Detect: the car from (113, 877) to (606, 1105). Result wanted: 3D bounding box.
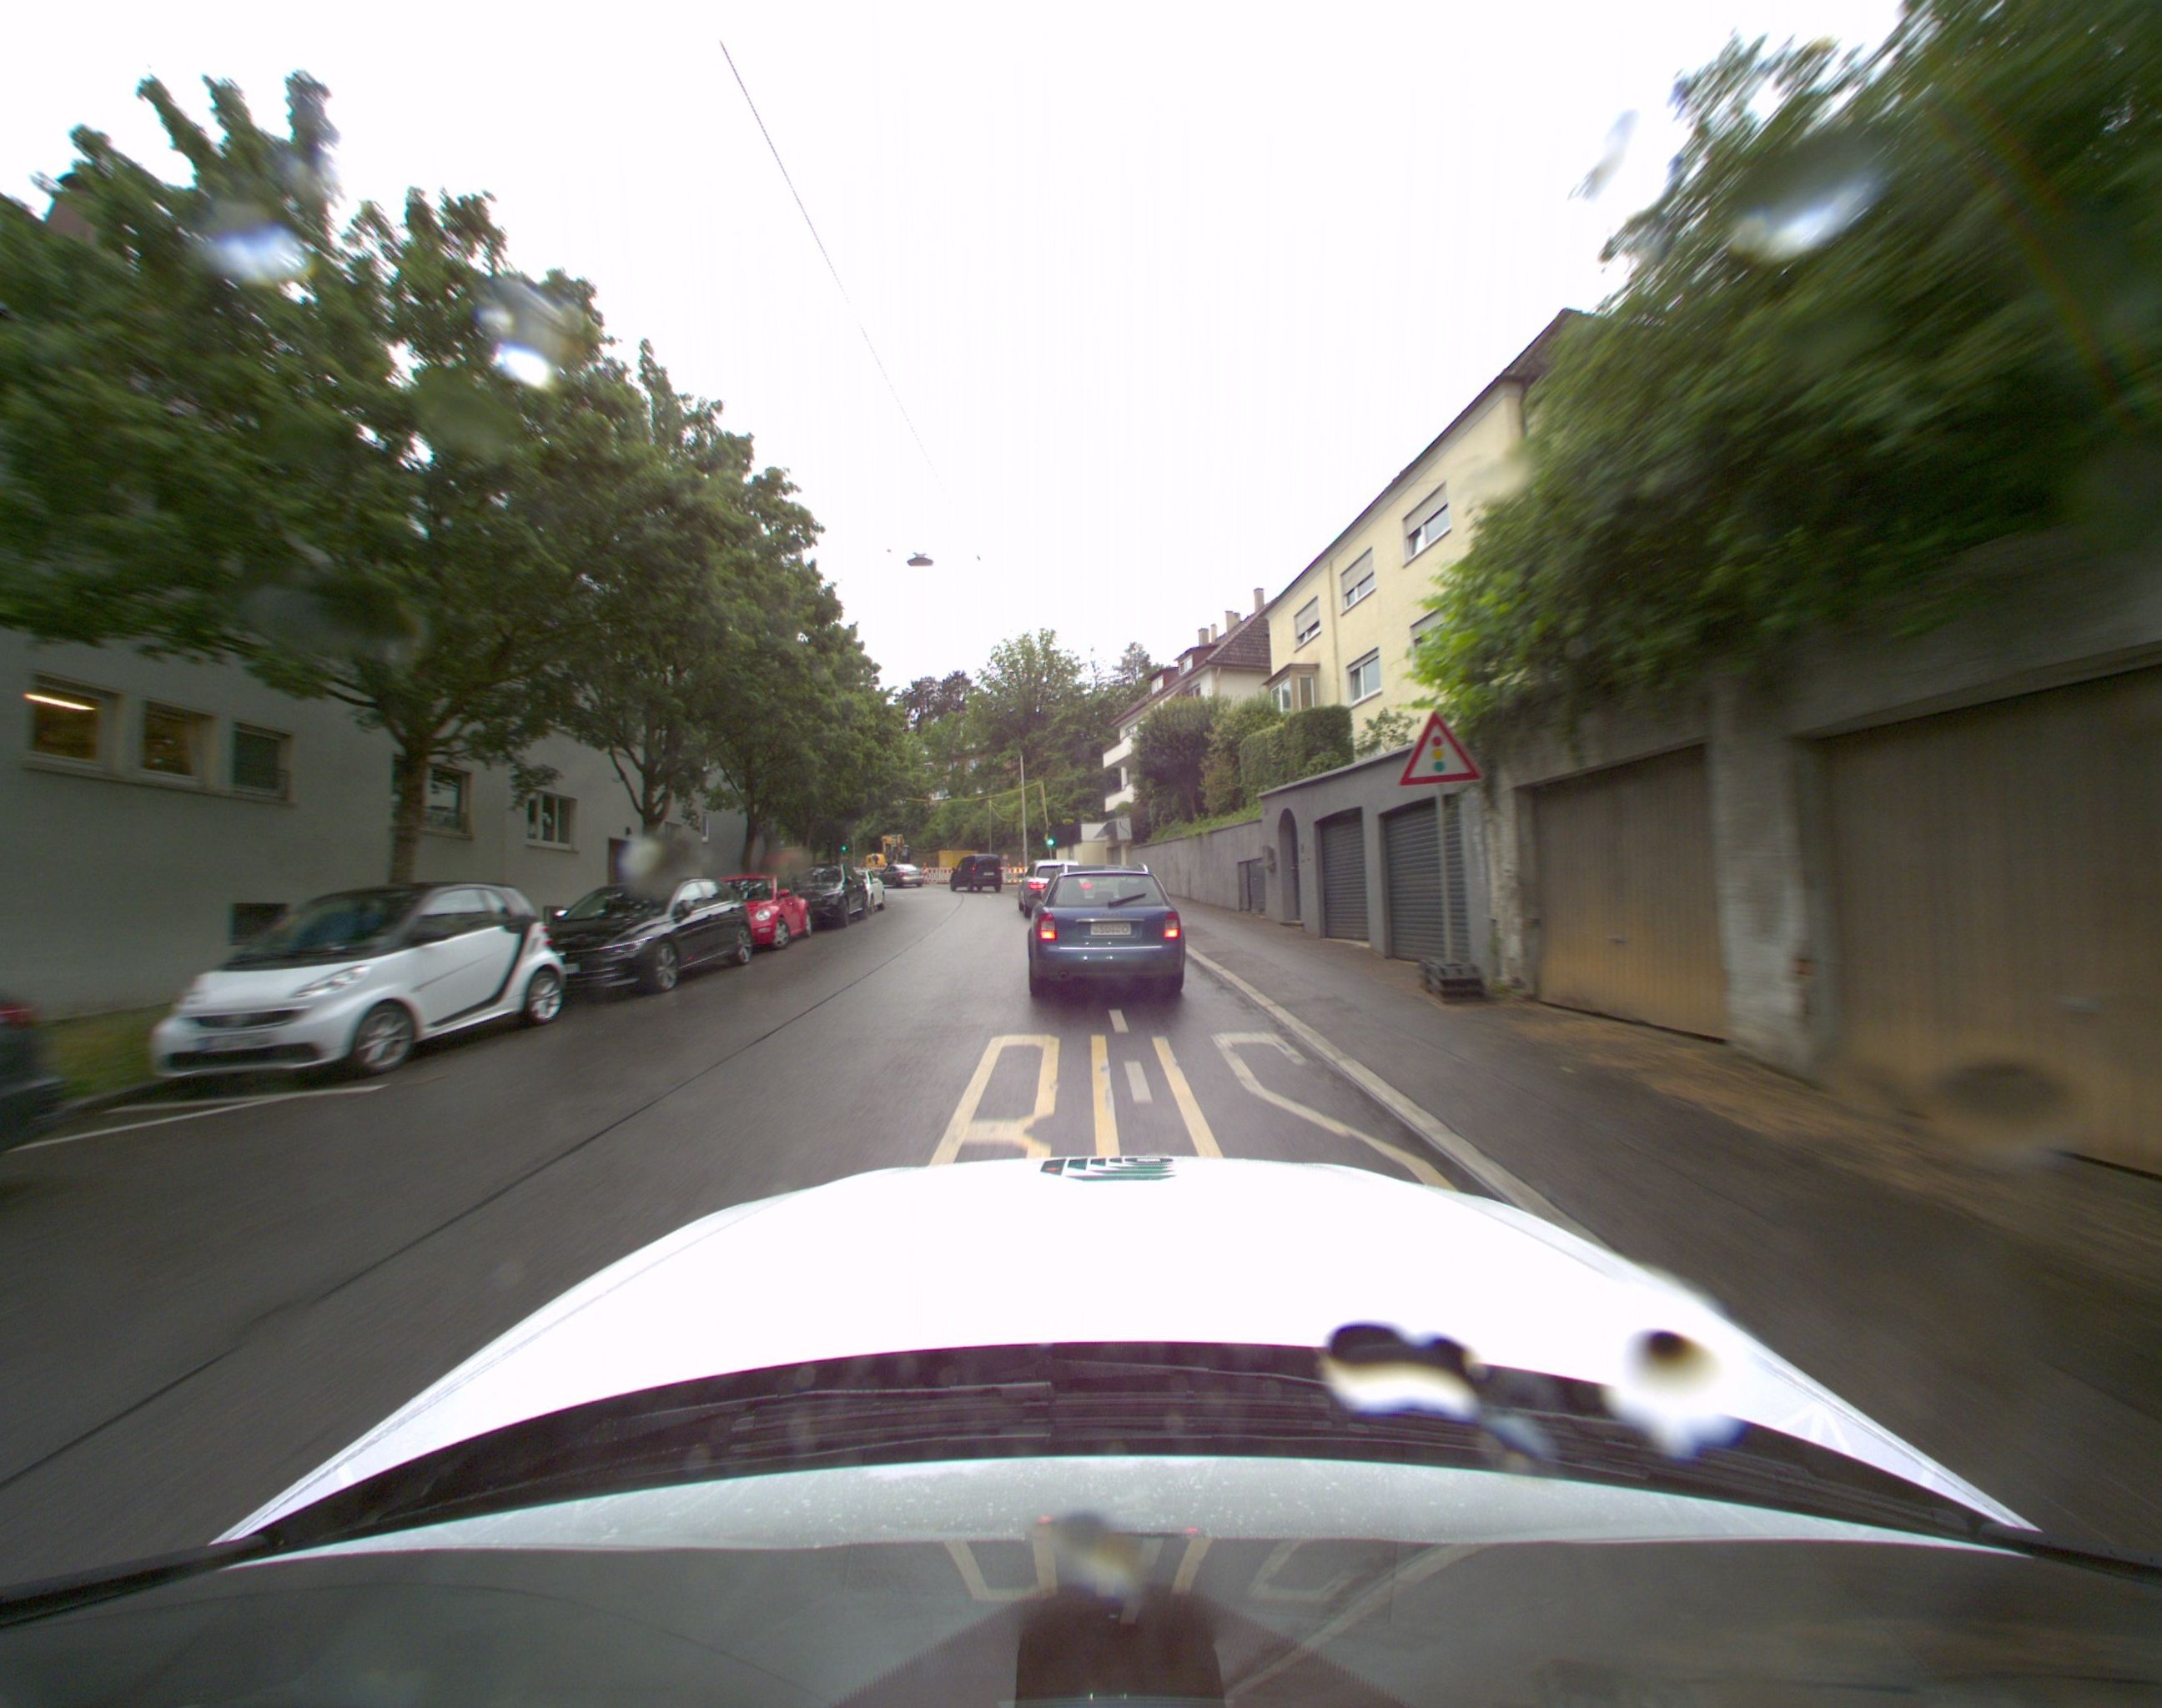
[{"bbox_3d":[-6.379,1.067,7.775,1.550,1.510,3.383,-5,-1,1],"label":"car"}]

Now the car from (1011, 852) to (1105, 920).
[{"bbox_3d":[-0.740,0.776,22.094,1.926,1.618,4.305,-1,0,-10],"label":"car"}]

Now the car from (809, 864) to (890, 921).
[{"bbox_3d":[-7.484,1.195,26.696,1.679,1.508,4.307,-5,0,-5],"label":"car"}]

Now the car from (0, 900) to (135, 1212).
[{"bbox_3d":[-6.188,1.049,2.268,1.658,1.488,4.478,-6,-1,2],"label":"car"}]

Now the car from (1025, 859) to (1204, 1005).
[{"bbox_3d":[0.214,0.799,10.259,1.783,1.442,3.957,-1,0,-5],"label":"car"}]

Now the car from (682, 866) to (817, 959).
[{"bbox_3d":[-6.522,1.098,16.432,1.633,1.565,3.835,-3,-1,-9],"label":"car"}]

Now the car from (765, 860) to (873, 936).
[{"bbox_3d":[-6.858,1.070,21.815,1.680,1.608,4.567,-6,0,-6],"label":"car"}]

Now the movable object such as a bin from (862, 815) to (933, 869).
[{"bbox_3d":[-14.633,-0.874,64.495,2.841,4.014,7.247,-1,0,-35],"label":"movable object such as a bin"}]

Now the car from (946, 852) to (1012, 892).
[{"bbox_3d":[-5.152,0.909,40.703,2.004,1.794,3.965,-3,0,-26],"label":"car"}]

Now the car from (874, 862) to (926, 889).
[{"bbox_3d":[-11.282,1.350,50.559,1.734,1.486,4.032,-3,0,-35],"label":"car"}]

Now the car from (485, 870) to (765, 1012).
[{"bbox_3d":[-6.085,1.051,11.494,1.551,1.488,4.096,-6,-1,-1],"label":"car"}]
